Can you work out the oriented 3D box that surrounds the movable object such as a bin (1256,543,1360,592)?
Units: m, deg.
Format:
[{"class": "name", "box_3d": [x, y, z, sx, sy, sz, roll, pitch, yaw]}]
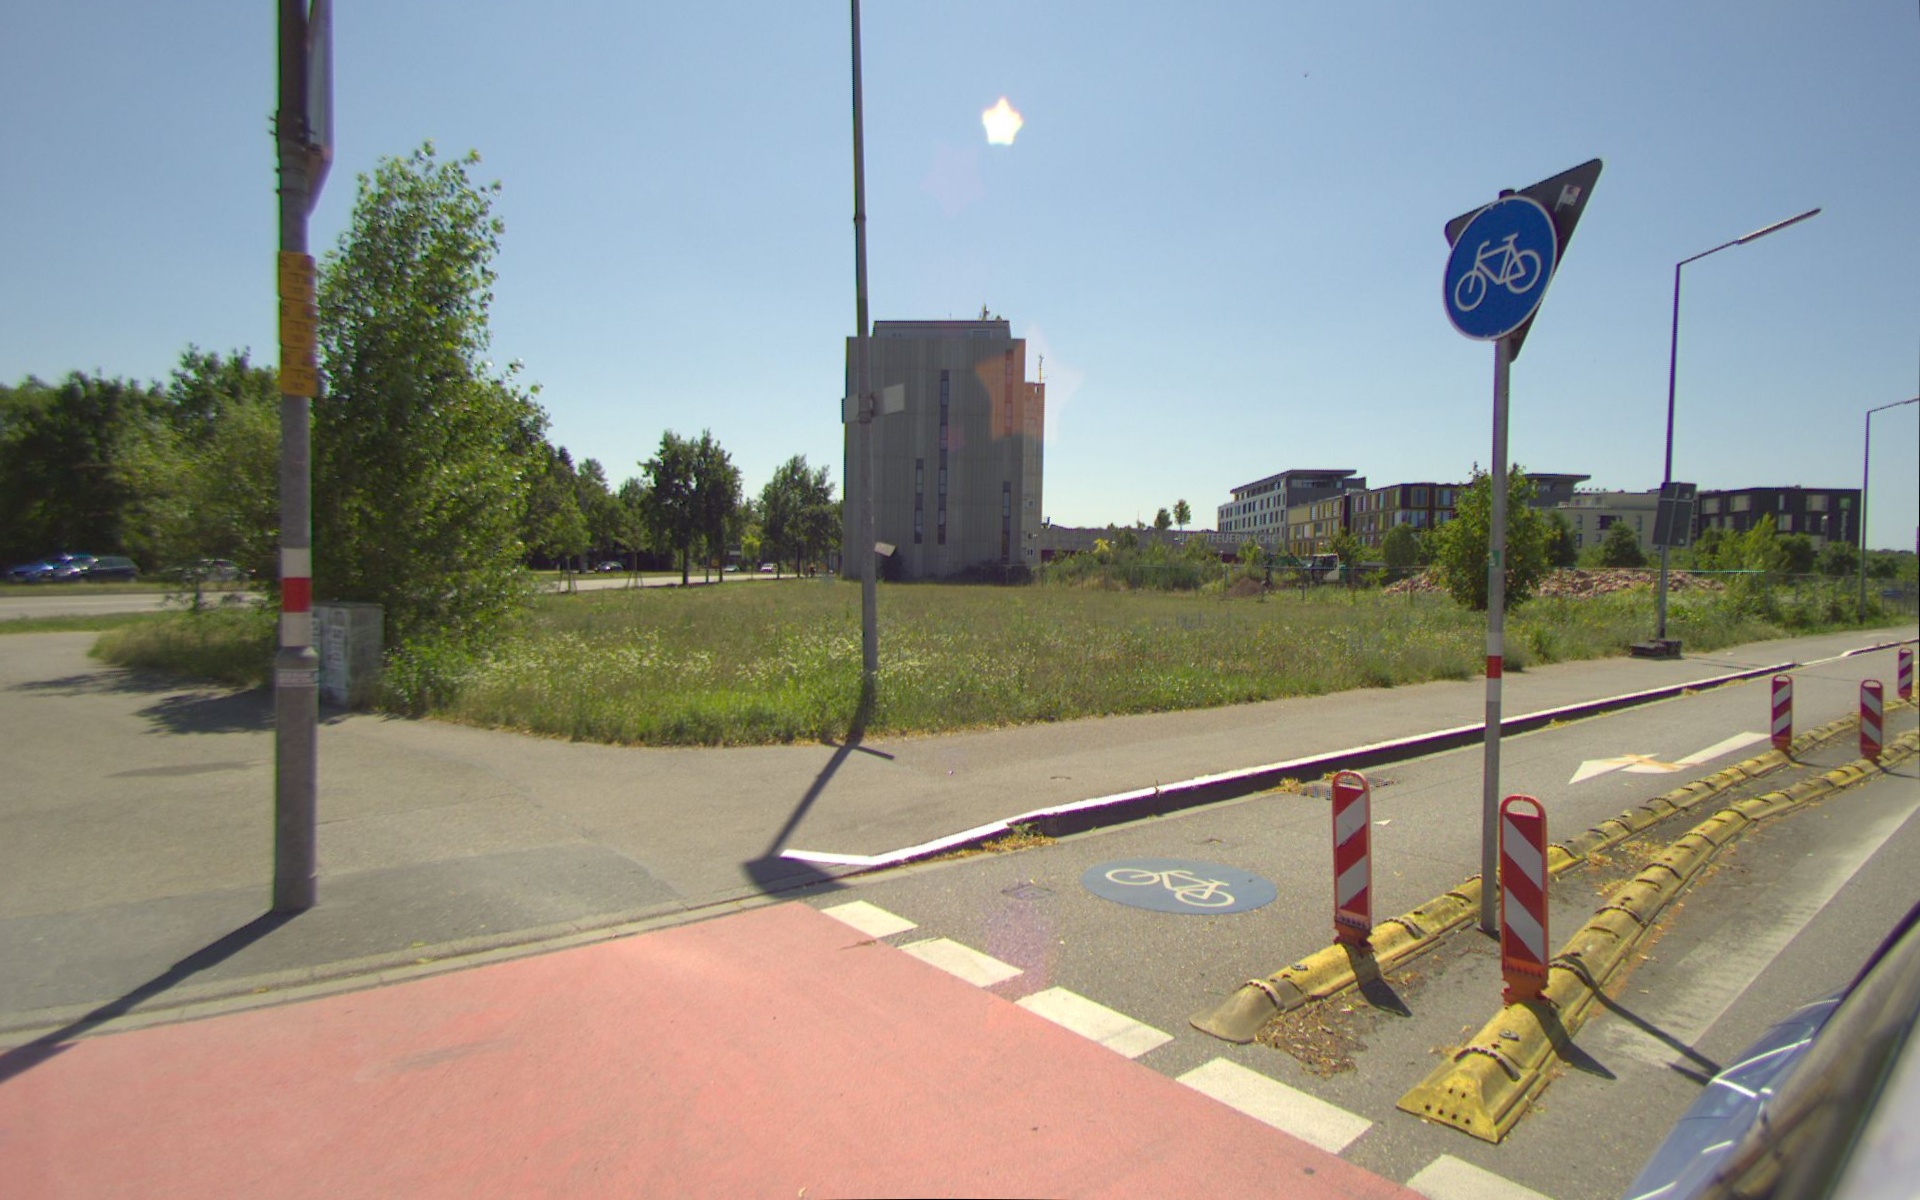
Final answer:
[{"class": "movable object such as a bin", "box_3d": [24.112, -2.219, 69.957, 7.457, 3.188, 2.816, -1, 1, -33]}]

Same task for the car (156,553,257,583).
[{"class": "car", "box_3d": [-38.703, -1.633, 52.109, 1.830, 1.440, 4.406, 1, 1, 2]}]

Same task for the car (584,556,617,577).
[{"class": "car", "box_3d": [-37.499, -3.466, 105.596, 1.963, 2.039, 3.999, 0, 1, 1]}]

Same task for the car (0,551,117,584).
[{"class": "car", "box_3d": [-42.188, -1.501, 47.299, 1.830, 1.440, 4.406, 1, 1, 2]}]

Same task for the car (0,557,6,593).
[{"class": "car", "box_3d": [-39.573, -0.981, 38.760, 1.830, 1.440, 4.406, 1, 1, 2]}]

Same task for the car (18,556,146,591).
[{"class": "car", "box_3d": [-39.297, -1.178, 45.450, 1.830, 1.440, 4.406, 1, 1, 2]}]
